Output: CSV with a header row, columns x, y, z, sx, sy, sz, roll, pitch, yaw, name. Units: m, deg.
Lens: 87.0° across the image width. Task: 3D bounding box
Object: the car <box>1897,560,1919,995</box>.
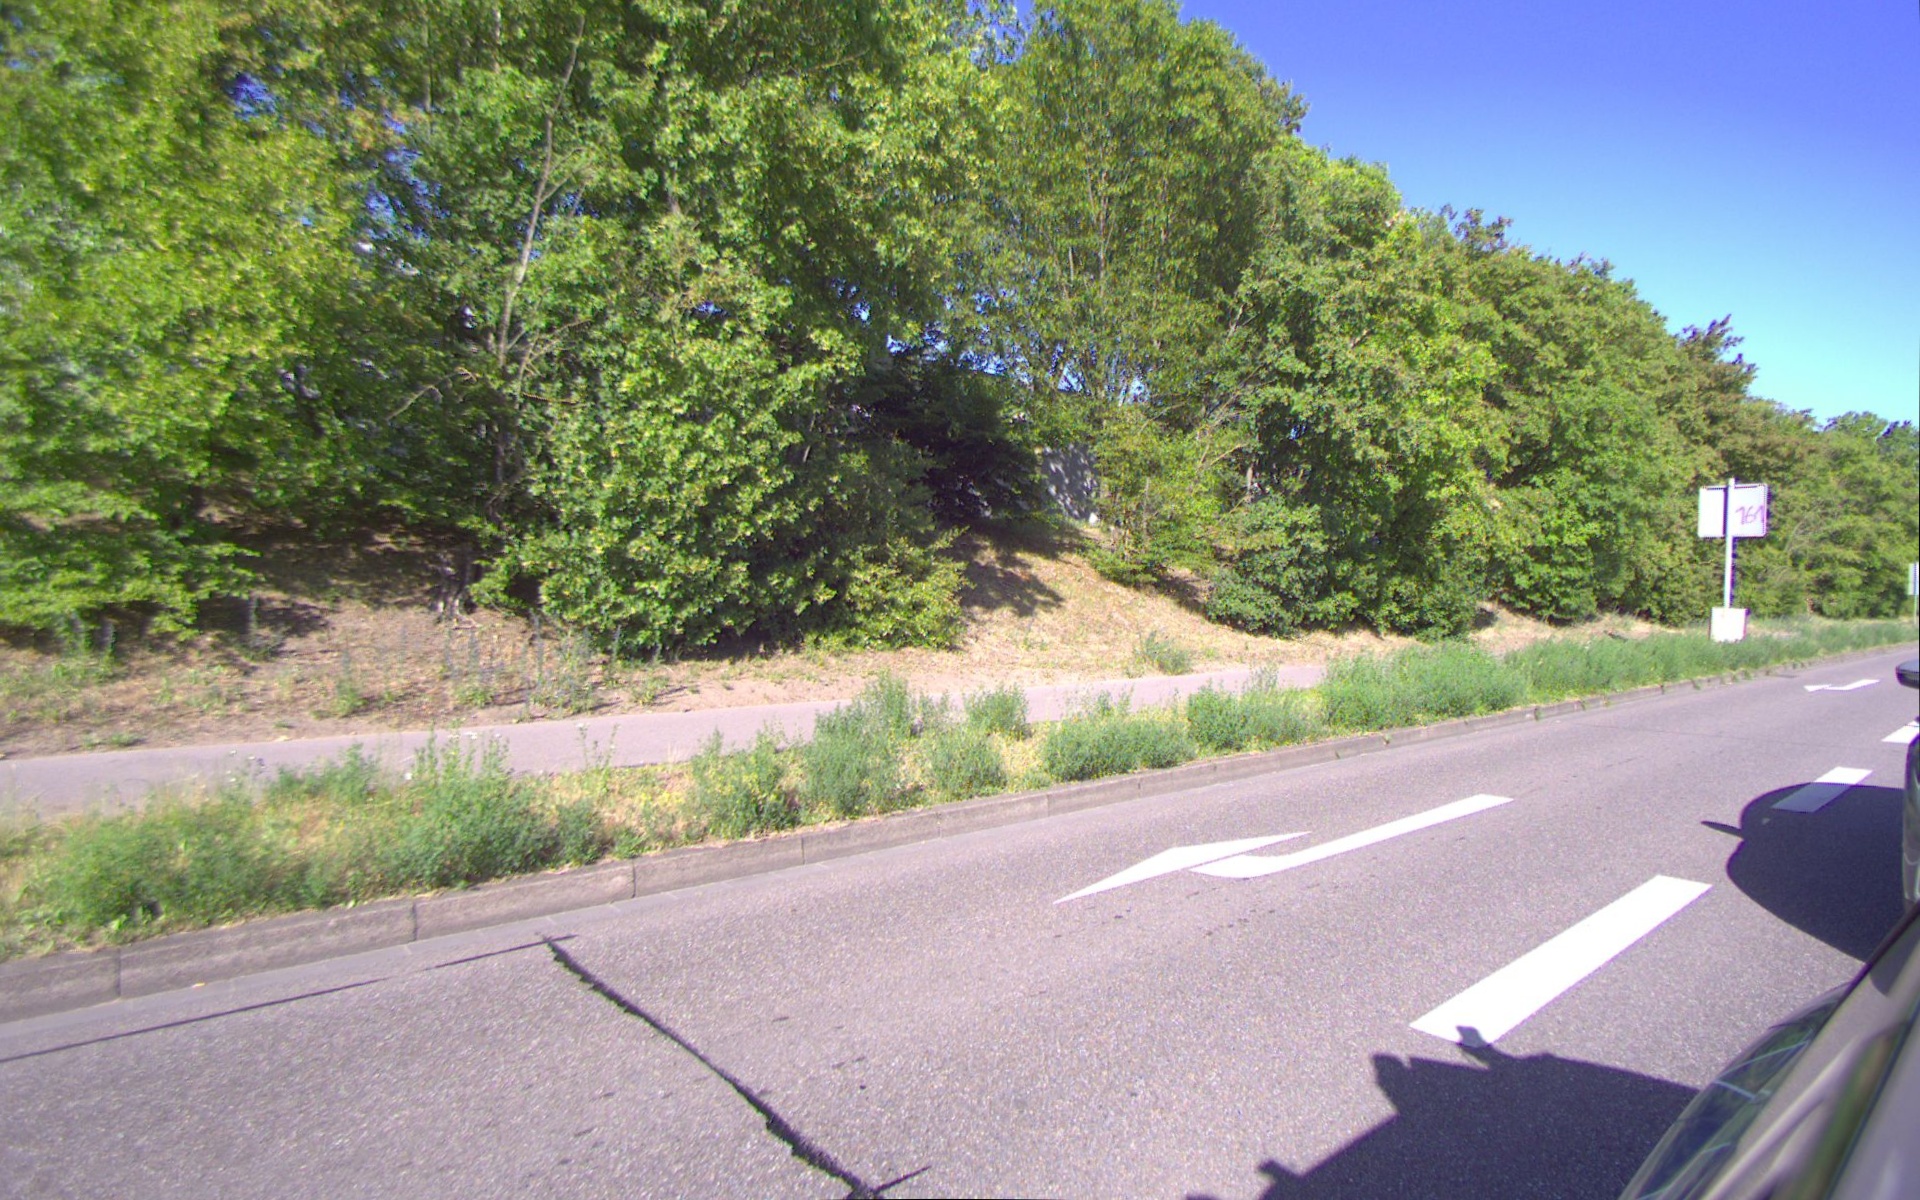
x,y,z,sx,sy,sz,roll,pitch,yaw,name
5.718,0.657,4.524,4.327,1.603,1.860,0,0,-42,car
